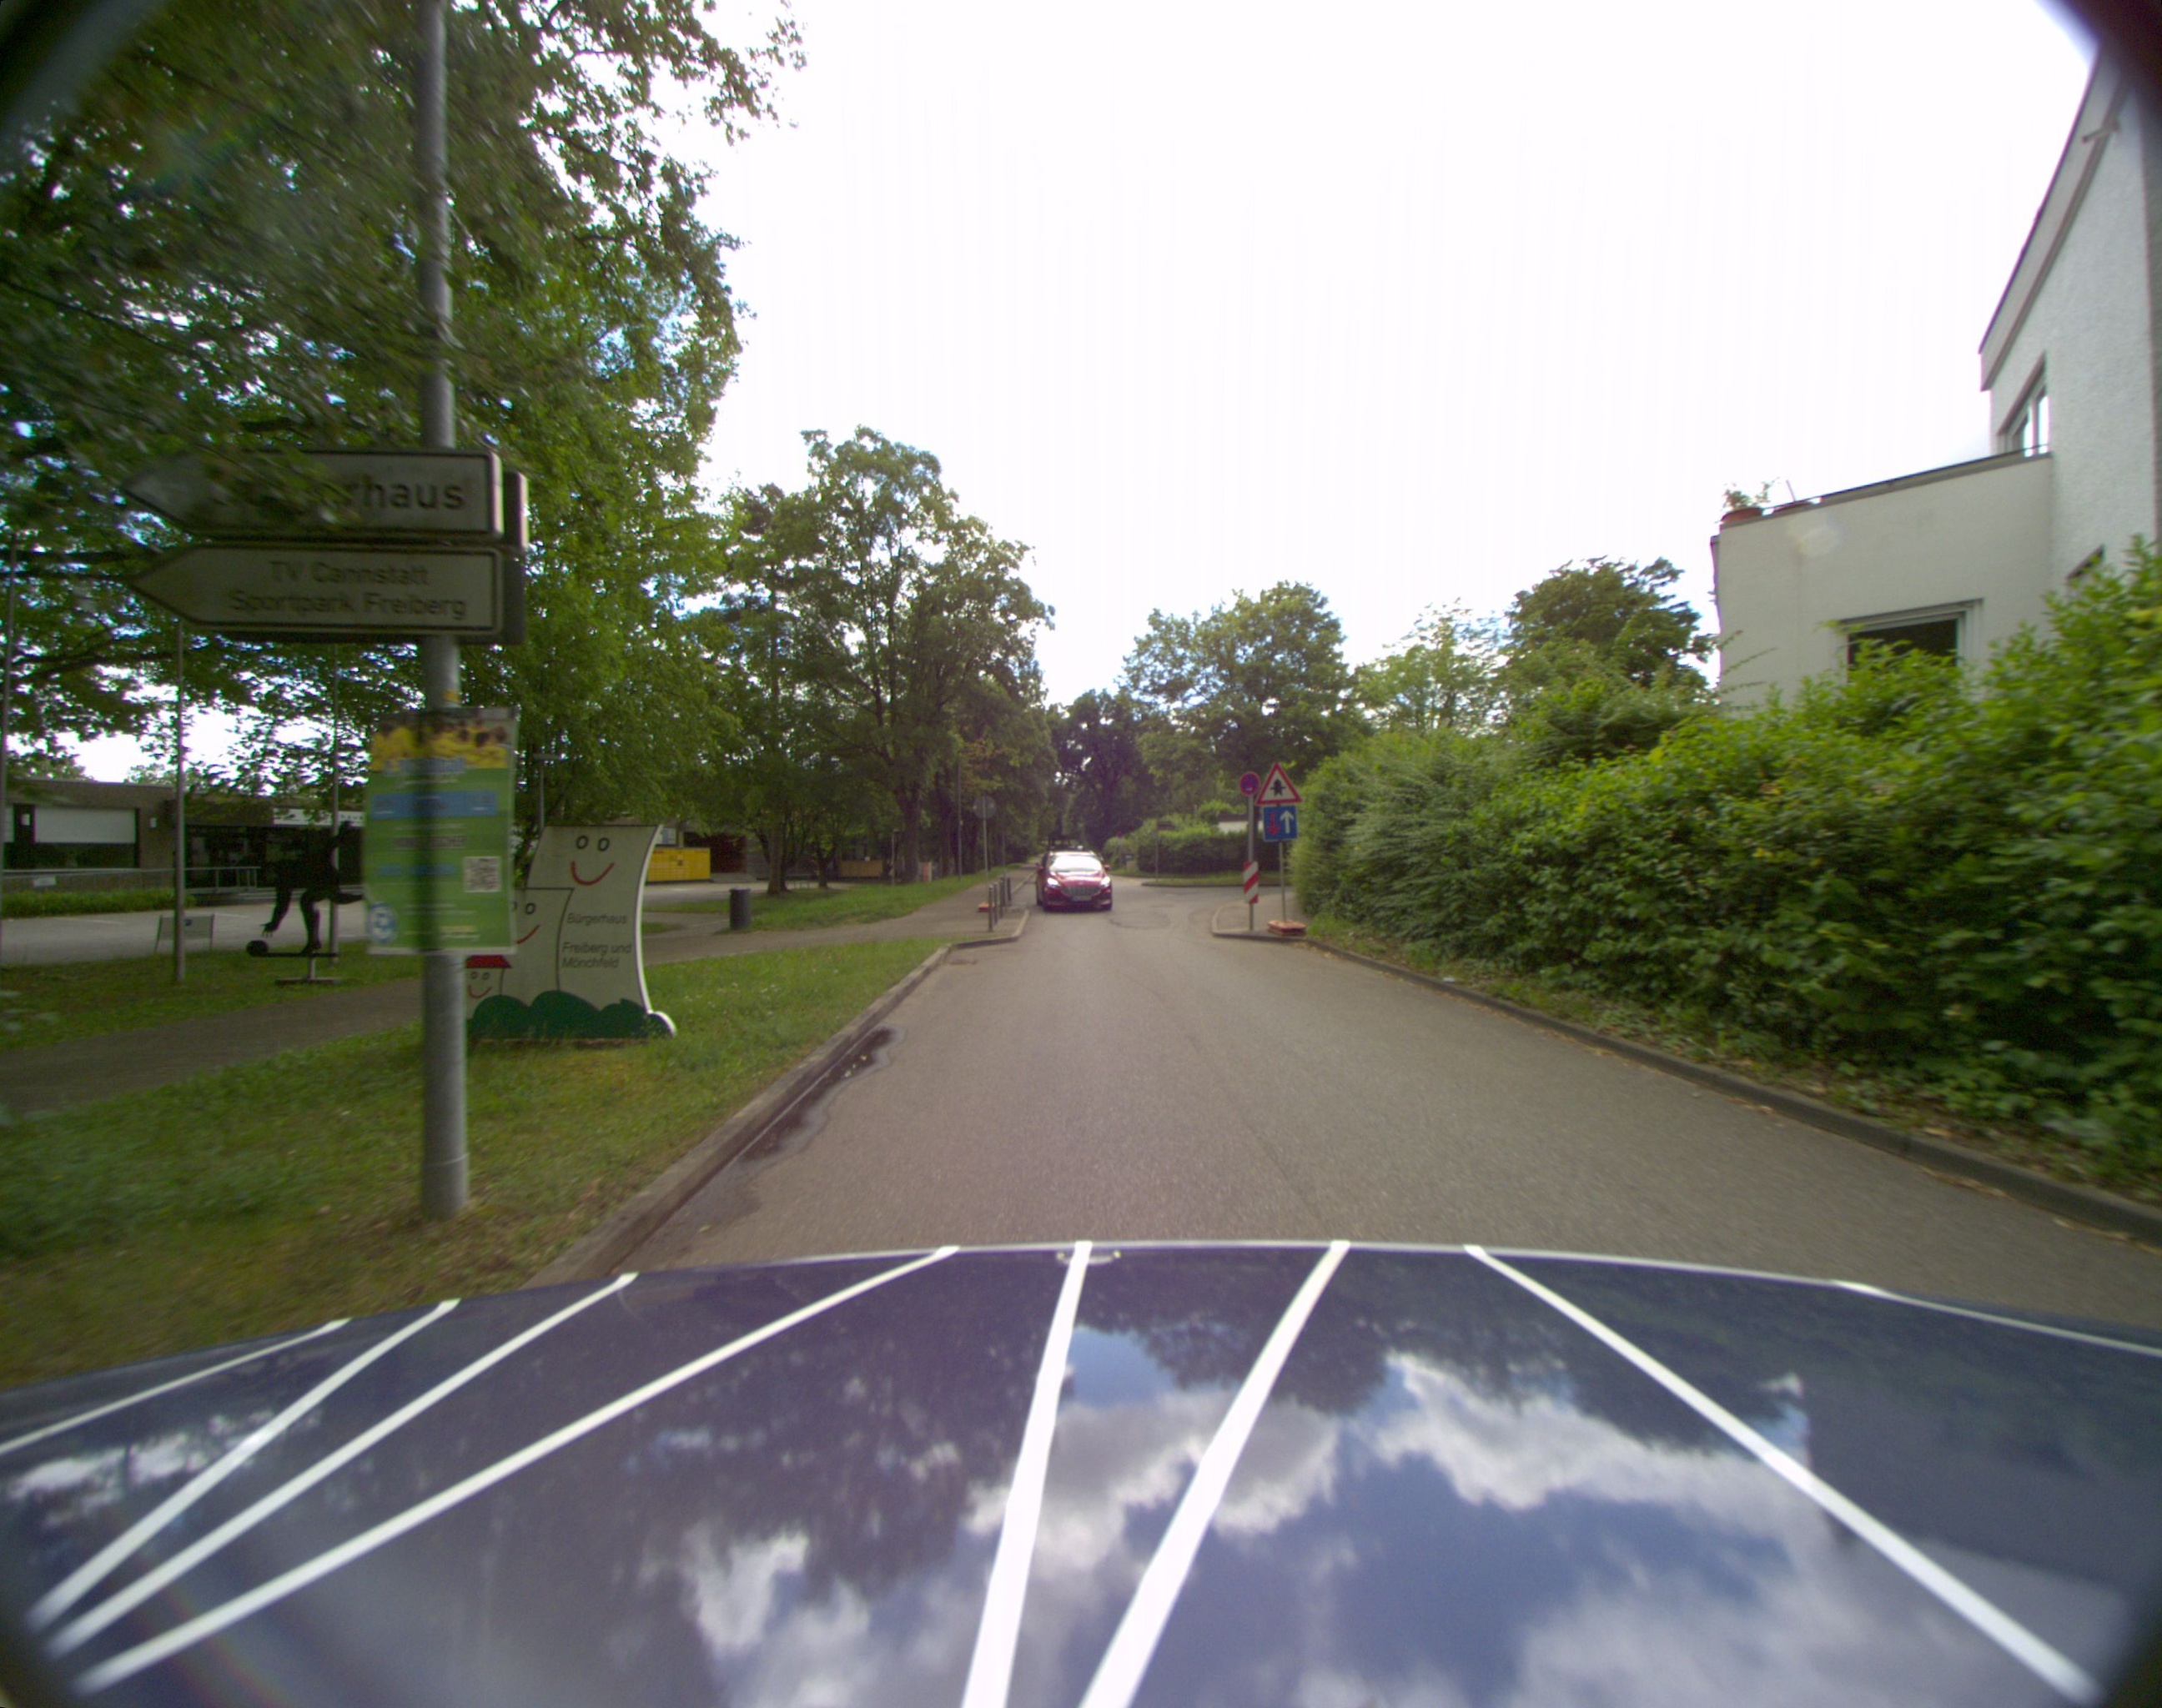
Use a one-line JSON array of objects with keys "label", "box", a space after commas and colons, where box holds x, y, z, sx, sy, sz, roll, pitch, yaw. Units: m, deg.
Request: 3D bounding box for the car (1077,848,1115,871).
[{"label": "car", "box": [1.056, 0.384, 55.094, 1.809, 1.582, 4.291, -1, 0, -12]}]

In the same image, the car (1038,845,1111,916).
[{"label": "car", "box": [-0.282, 0.661, 21.658, 1.817, 1.718, 3.997, 2, 2, -3]}]
